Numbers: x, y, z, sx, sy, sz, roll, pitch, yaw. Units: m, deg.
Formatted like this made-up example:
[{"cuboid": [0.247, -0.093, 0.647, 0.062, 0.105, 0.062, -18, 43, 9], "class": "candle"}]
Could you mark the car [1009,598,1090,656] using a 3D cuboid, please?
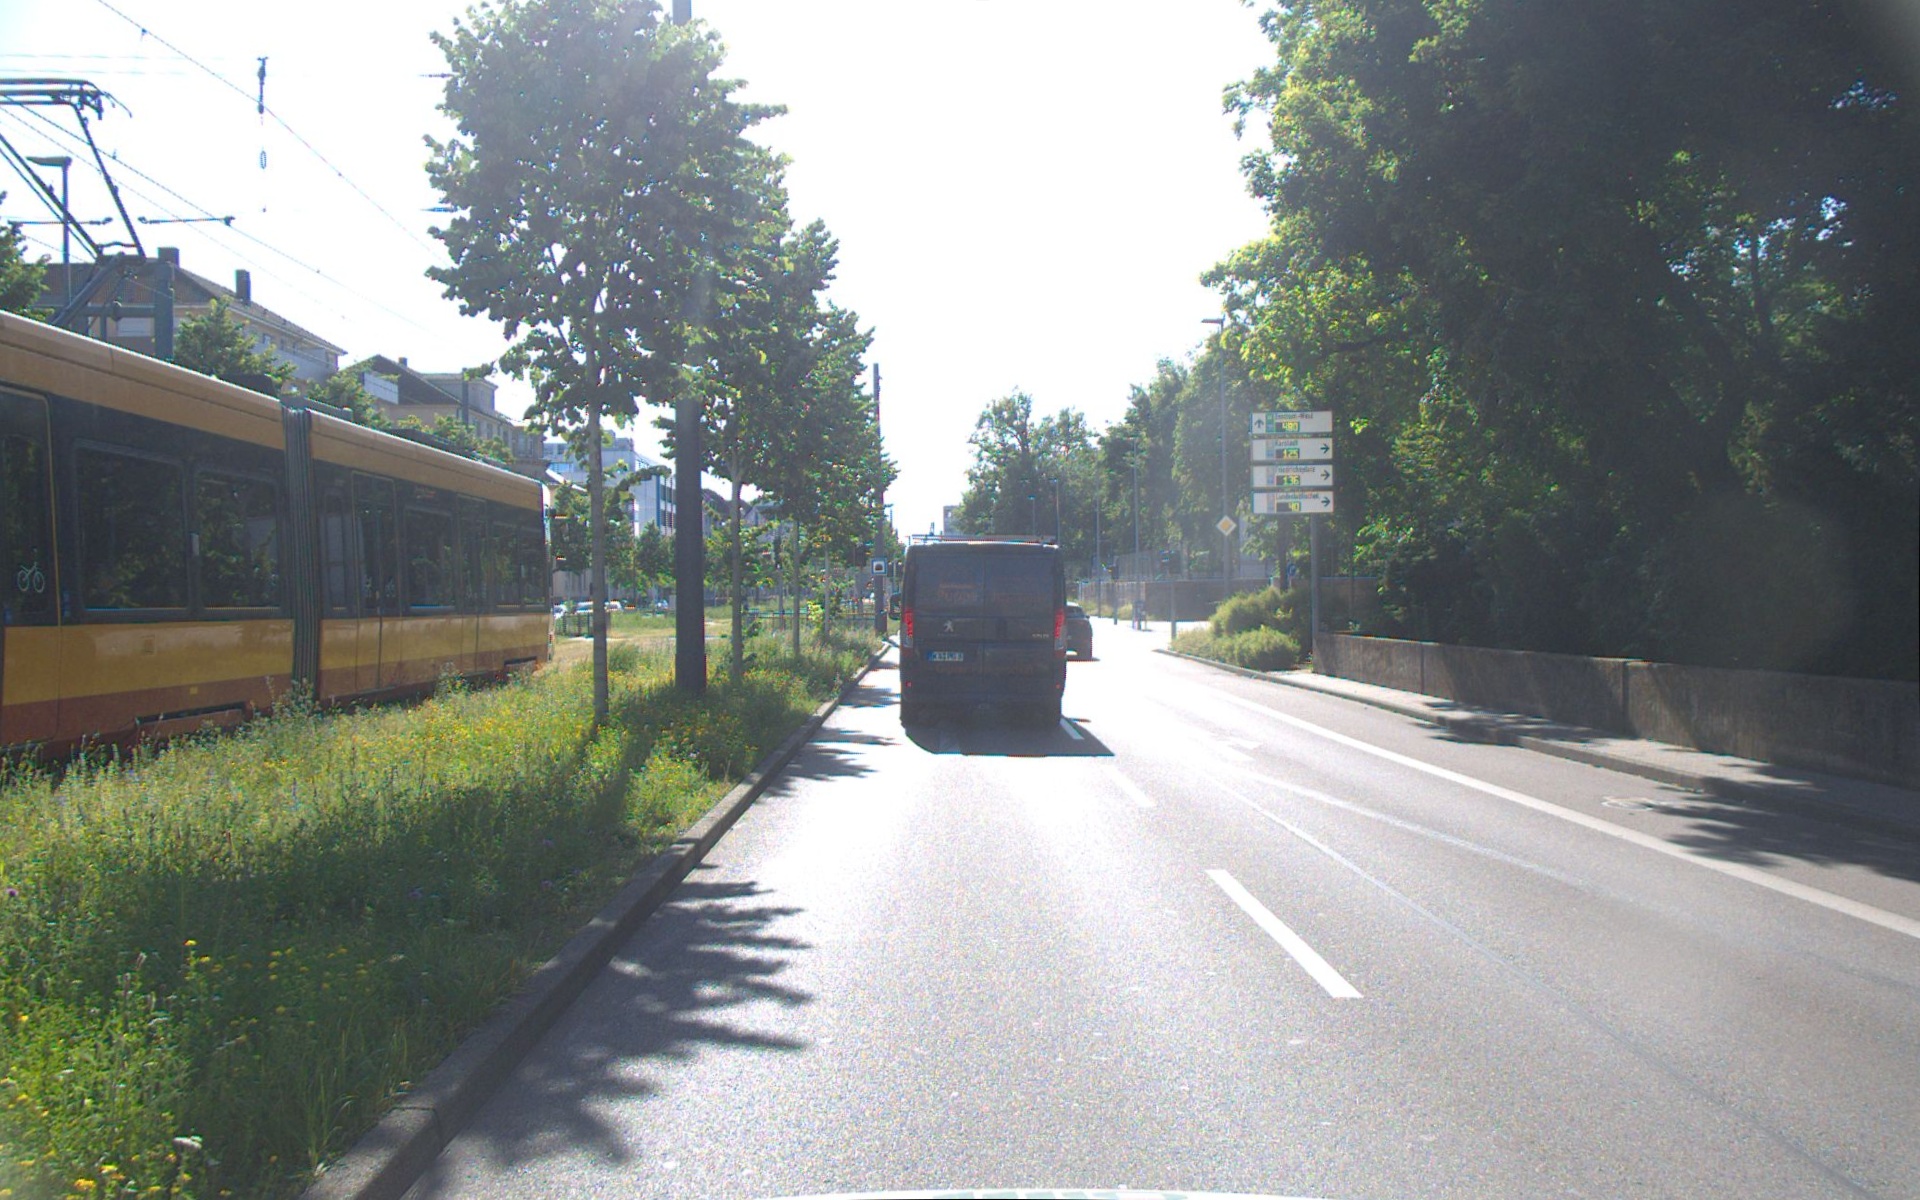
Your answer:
[{"cuboid": [2.343, 0.691, 44.158, 1.728, 1.488, 3.997, 0, 0, -3], "class": "car"}]

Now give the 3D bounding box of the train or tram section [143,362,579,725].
[{"cuboid": [-7.496, -0.585, 22.839, 1.953, 3.733, 11.681, 0, 0, -1], "class": "train or tram section"}]

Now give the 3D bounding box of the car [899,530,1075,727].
[{"cuboid": [0.259, 0.328, 21.223, 2.040, 2.288, 3.999, 0, 0, -2], "class": "car"}]

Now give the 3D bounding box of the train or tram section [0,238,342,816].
[{"cuboid": [-7.191, -0.473, 11.349, 1.953, 3.733, 11.312, 0, 0, -2], "class": "train or tram section"}]
